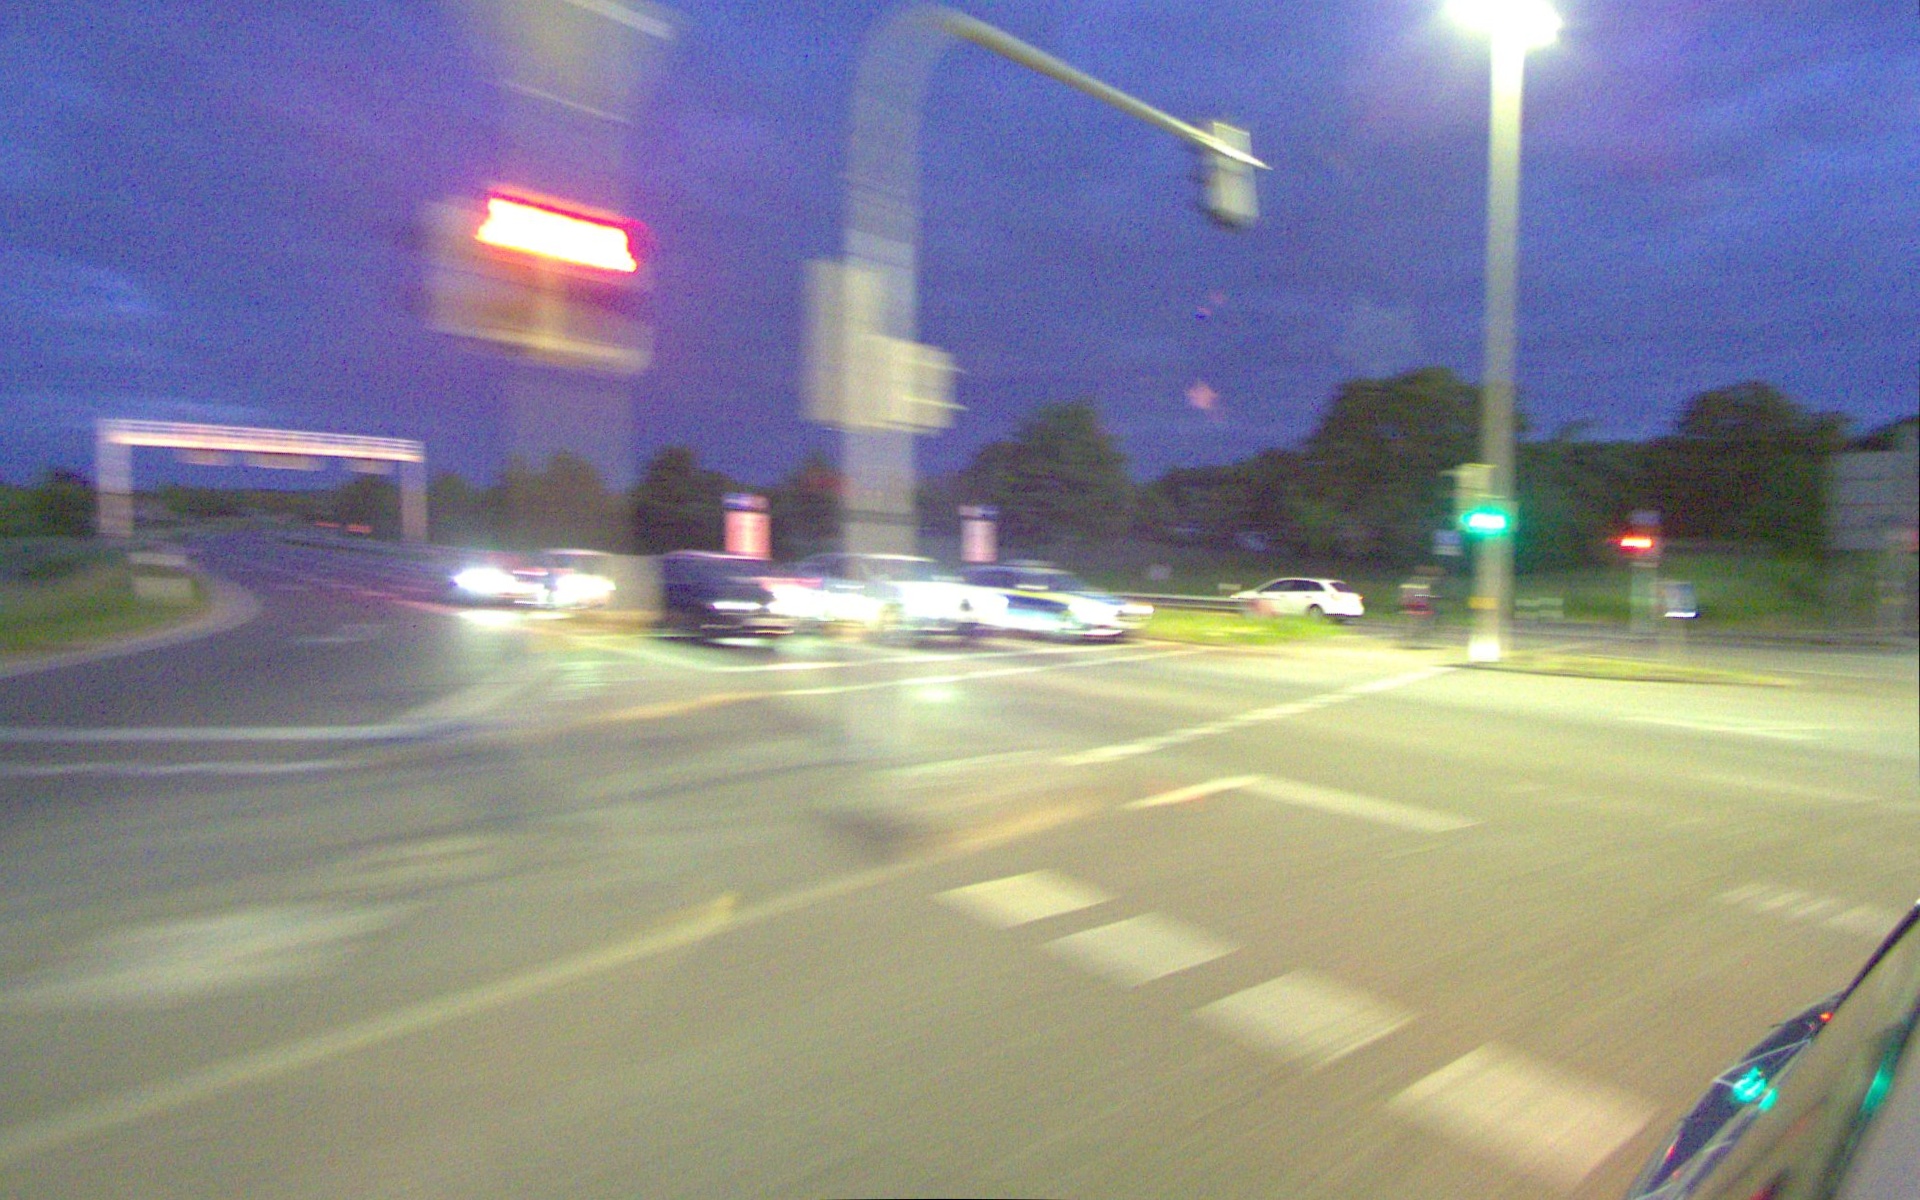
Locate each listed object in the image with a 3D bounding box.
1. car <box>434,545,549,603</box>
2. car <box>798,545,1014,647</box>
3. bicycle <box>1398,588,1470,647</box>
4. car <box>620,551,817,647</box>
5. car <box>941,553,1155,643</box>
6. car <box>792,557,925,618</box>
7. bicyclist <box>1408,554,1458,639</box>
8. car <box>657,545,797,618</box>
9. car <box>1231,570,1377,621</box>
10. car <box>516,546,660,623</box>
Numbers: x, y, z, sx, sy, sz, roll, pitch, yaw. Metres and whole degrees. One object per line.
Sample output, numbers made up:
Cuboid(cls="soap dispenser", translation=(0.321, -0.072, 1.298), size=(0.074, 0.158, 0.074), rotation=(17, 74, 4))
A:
Cuboid(cls="car", translation=(-12.807, -0.753, 27.519), size=(1.805, 1.406, 4.393), rotation=(-1, 3, -39))
Cuboid(cls="car", translation=(-1.157, -0.154, 19.372), size=(1.880, 1.703, 4.417), rotation=(0, 2, -39))
Cuboid(cls="bicycle", translation=(9.709, 0.327, 20.678), size=(0.693, 1.115, 2.035), rotation=(2, 2, 44))
Cuboid(cls="car", translation=(-4.396, -0.091, 17.947), size=(1.754, 1.463, 4.289), rotation=(0, 2, -38))
Cuboid(cls="car", translation=(1.737, -0.122, 21.442), size=(1.824, 1.653, 4.581), rotation=(0, 3, -39))
Cuboid(cls="car", translation=(-2.822, -0.377, 27.583), size=(1.747, 1.499, 3.907), rotation=(1, 2, -39))
Cuboid(cls="bicyclist", translation=(9.619, -0.081, 20.569), size=(0.602, 1.671, 0.984), rotation=(2, 2, 44))
Cuboid(cls="car", translation=(-5.966, -0.518, 25.587), size=(1.720, 1.646, 4.360), rotation=(0, 3, -39))
Cuboid(cls="car", translation=(10.771, -0.194, 31.895), size=(1.598, 1.461, 4.108), rotation=(-1, 3, -44))
Cuboid(cls="car", translation=(-8.361, -0.423, 22.578), size=(1.805, 1.543, 3.996), rotation=(-1, 3, -39))
